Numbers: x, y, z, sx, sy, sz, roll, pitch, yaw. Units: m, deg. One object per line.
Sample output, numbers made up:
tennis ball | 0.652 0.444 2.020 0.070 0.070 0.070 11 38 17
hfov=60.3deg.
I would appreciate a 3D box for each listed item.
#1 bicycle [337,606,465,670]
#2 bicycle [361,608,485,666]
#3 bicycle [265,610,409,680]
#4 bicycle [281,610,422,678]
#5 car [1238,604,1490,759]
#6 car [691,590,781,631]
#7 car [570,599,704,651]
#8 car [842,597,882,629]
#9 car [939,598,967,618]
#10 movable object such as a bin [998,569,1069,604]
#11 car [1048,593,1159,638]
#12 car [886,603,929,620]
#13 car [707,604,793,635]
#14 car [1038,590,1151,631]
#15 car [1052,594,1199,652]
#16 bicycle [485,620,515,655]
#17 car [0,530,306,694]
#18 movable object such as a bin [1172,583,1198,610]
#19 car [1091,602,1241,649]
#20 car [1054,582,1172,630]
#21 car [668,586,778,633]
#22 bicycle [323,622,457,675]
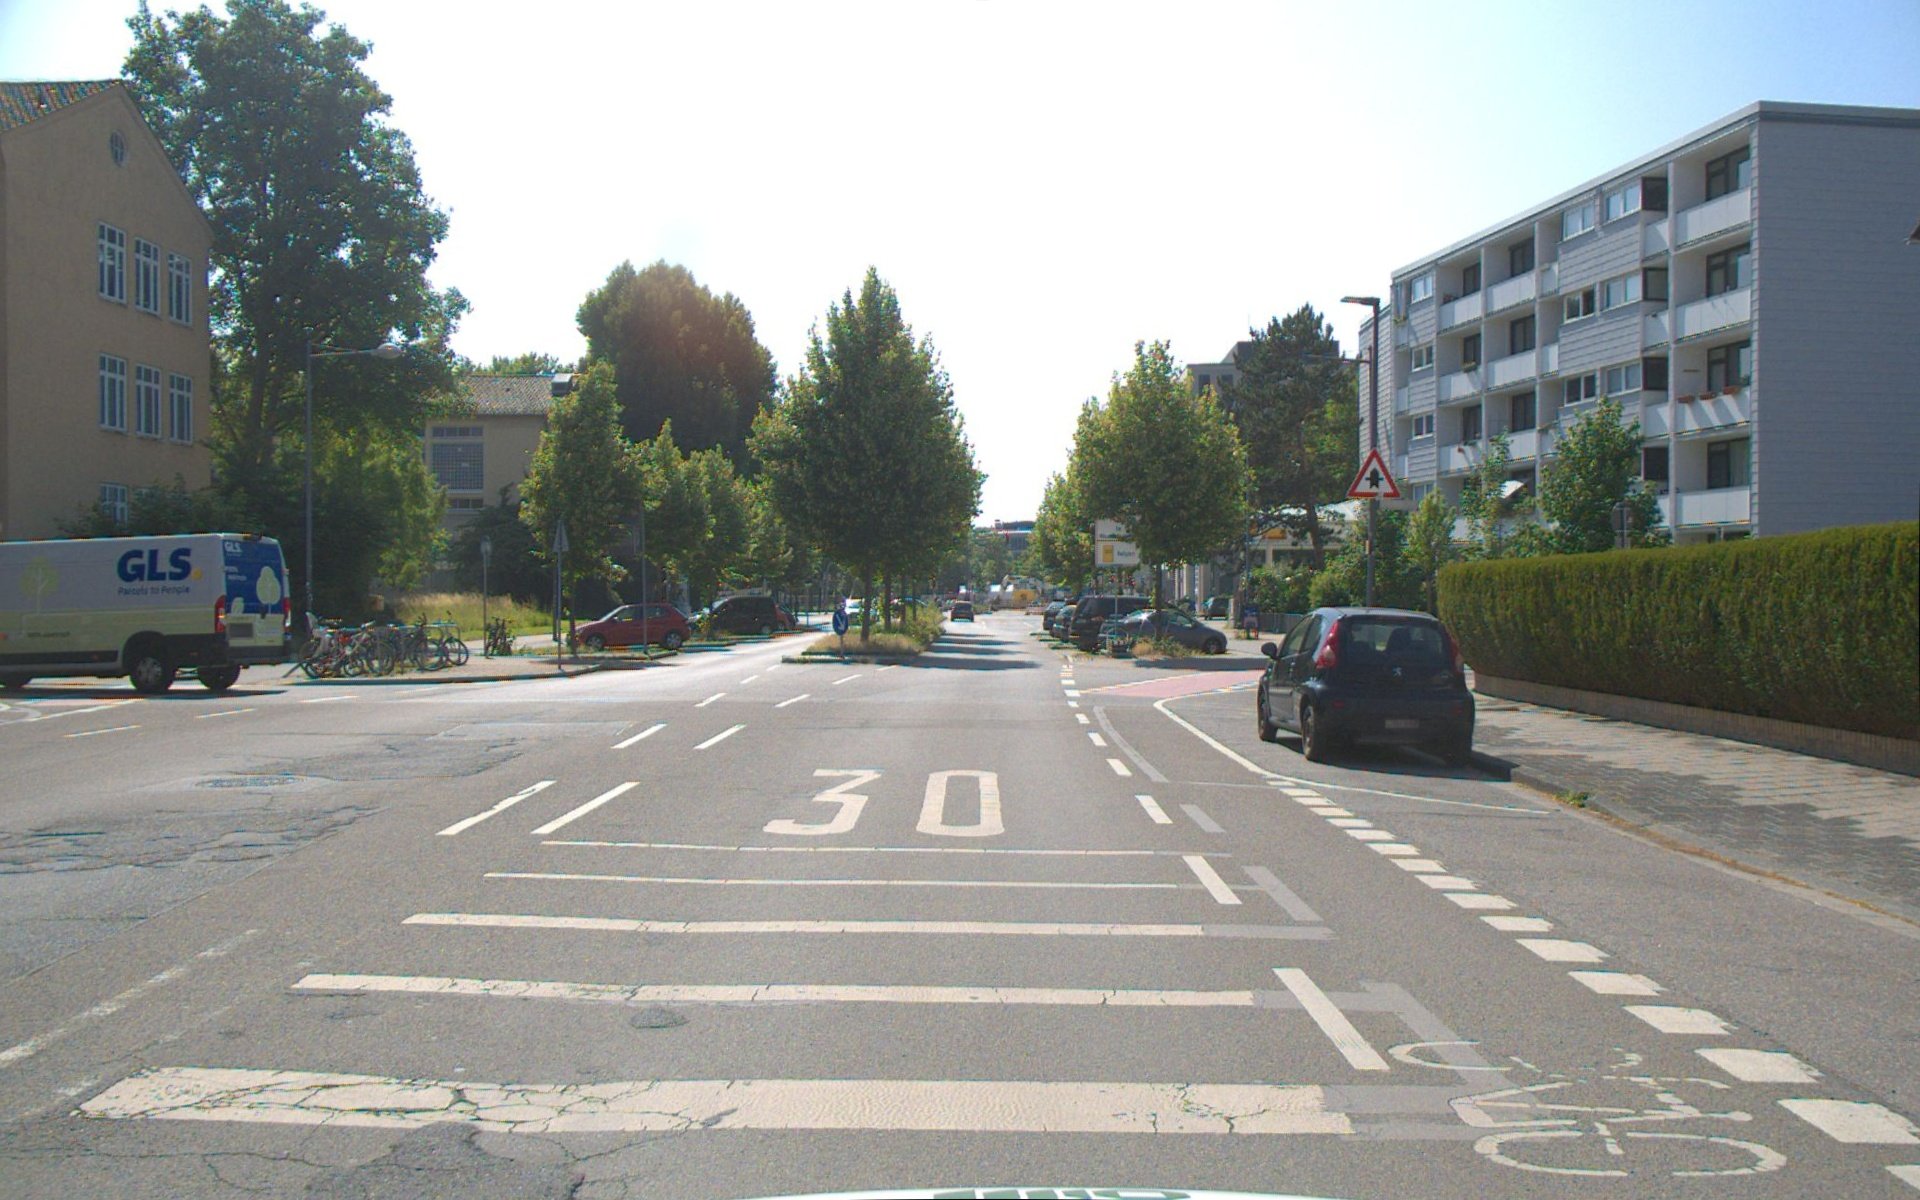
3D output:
bicycle | -12.003 0.810 35.583 2.464 1.278 0.739 -1 0 -2
bicycle | -11.954 0.820 36.867 2.493 1.278 0.739 0 0 -2
bicycle | -12.121 0.866 32.216 2.493 1.278 0.739 -1 0 -2
bicycle | -12.163 0.874 33.113 2.493 1.261 0.739 -1 0 -2
car | 4.094 0.766 17.383 1.584 1.414 3.999 1 0 -1
car | -10.178 0.479 75.066 3.717 1.803 1.803 0 0 -27
car | -10.354 0.767 52.970 3.929 1.492 1.988 -2 1 -20
car | -5.165 0.674 87.483 1.705 1.574 4.074 -2 0 2
car | -0.539 0.572 121.108 1.953 1.422 3.998 0 0 -2
movable object such as a bin | 9.892 -1.862 223.272 9.473 4.629 3.165 0 0 2
car | 5.447 0.563 63.036 3.916 1.668 1.748 0 0 -12
car | -4.323 0.977 136.870 3.530 1.401 1.637 0 0 -2
car | -10.100 0.918 79.672 3.798 1.448 1.694 0 0 -35
car | 5.653 0.425 69.213 4.687 1.689 1.733 0 0 -34
car | 4.989 0.650 49.645 4.068 1.668 2.021 0 0 -33
bicycle | -12.360 0.992 44.483 0.510 0.919 1.269 -1 -1 -4
car | -14.578 0.228 28.232 5.984 2.568 2.285 -1 0 10
movable object such as a bin | 13.741 -0.206 101.066 1.281 1.620 1.395 -3 0 -2
car | 5.851 0.705 46.857 3.937 1.258 1.739 0 0 -25
car | 5.547 0.193 60.118 3.928 1.668 1.743 0 1 -20
car | -9.881 0.366 68.988 4.144 1.848 1.978 -1 1 -37
bicycle | -11.809 1.006 34.296 2.493 1.005 0.739 -1 0 -2
